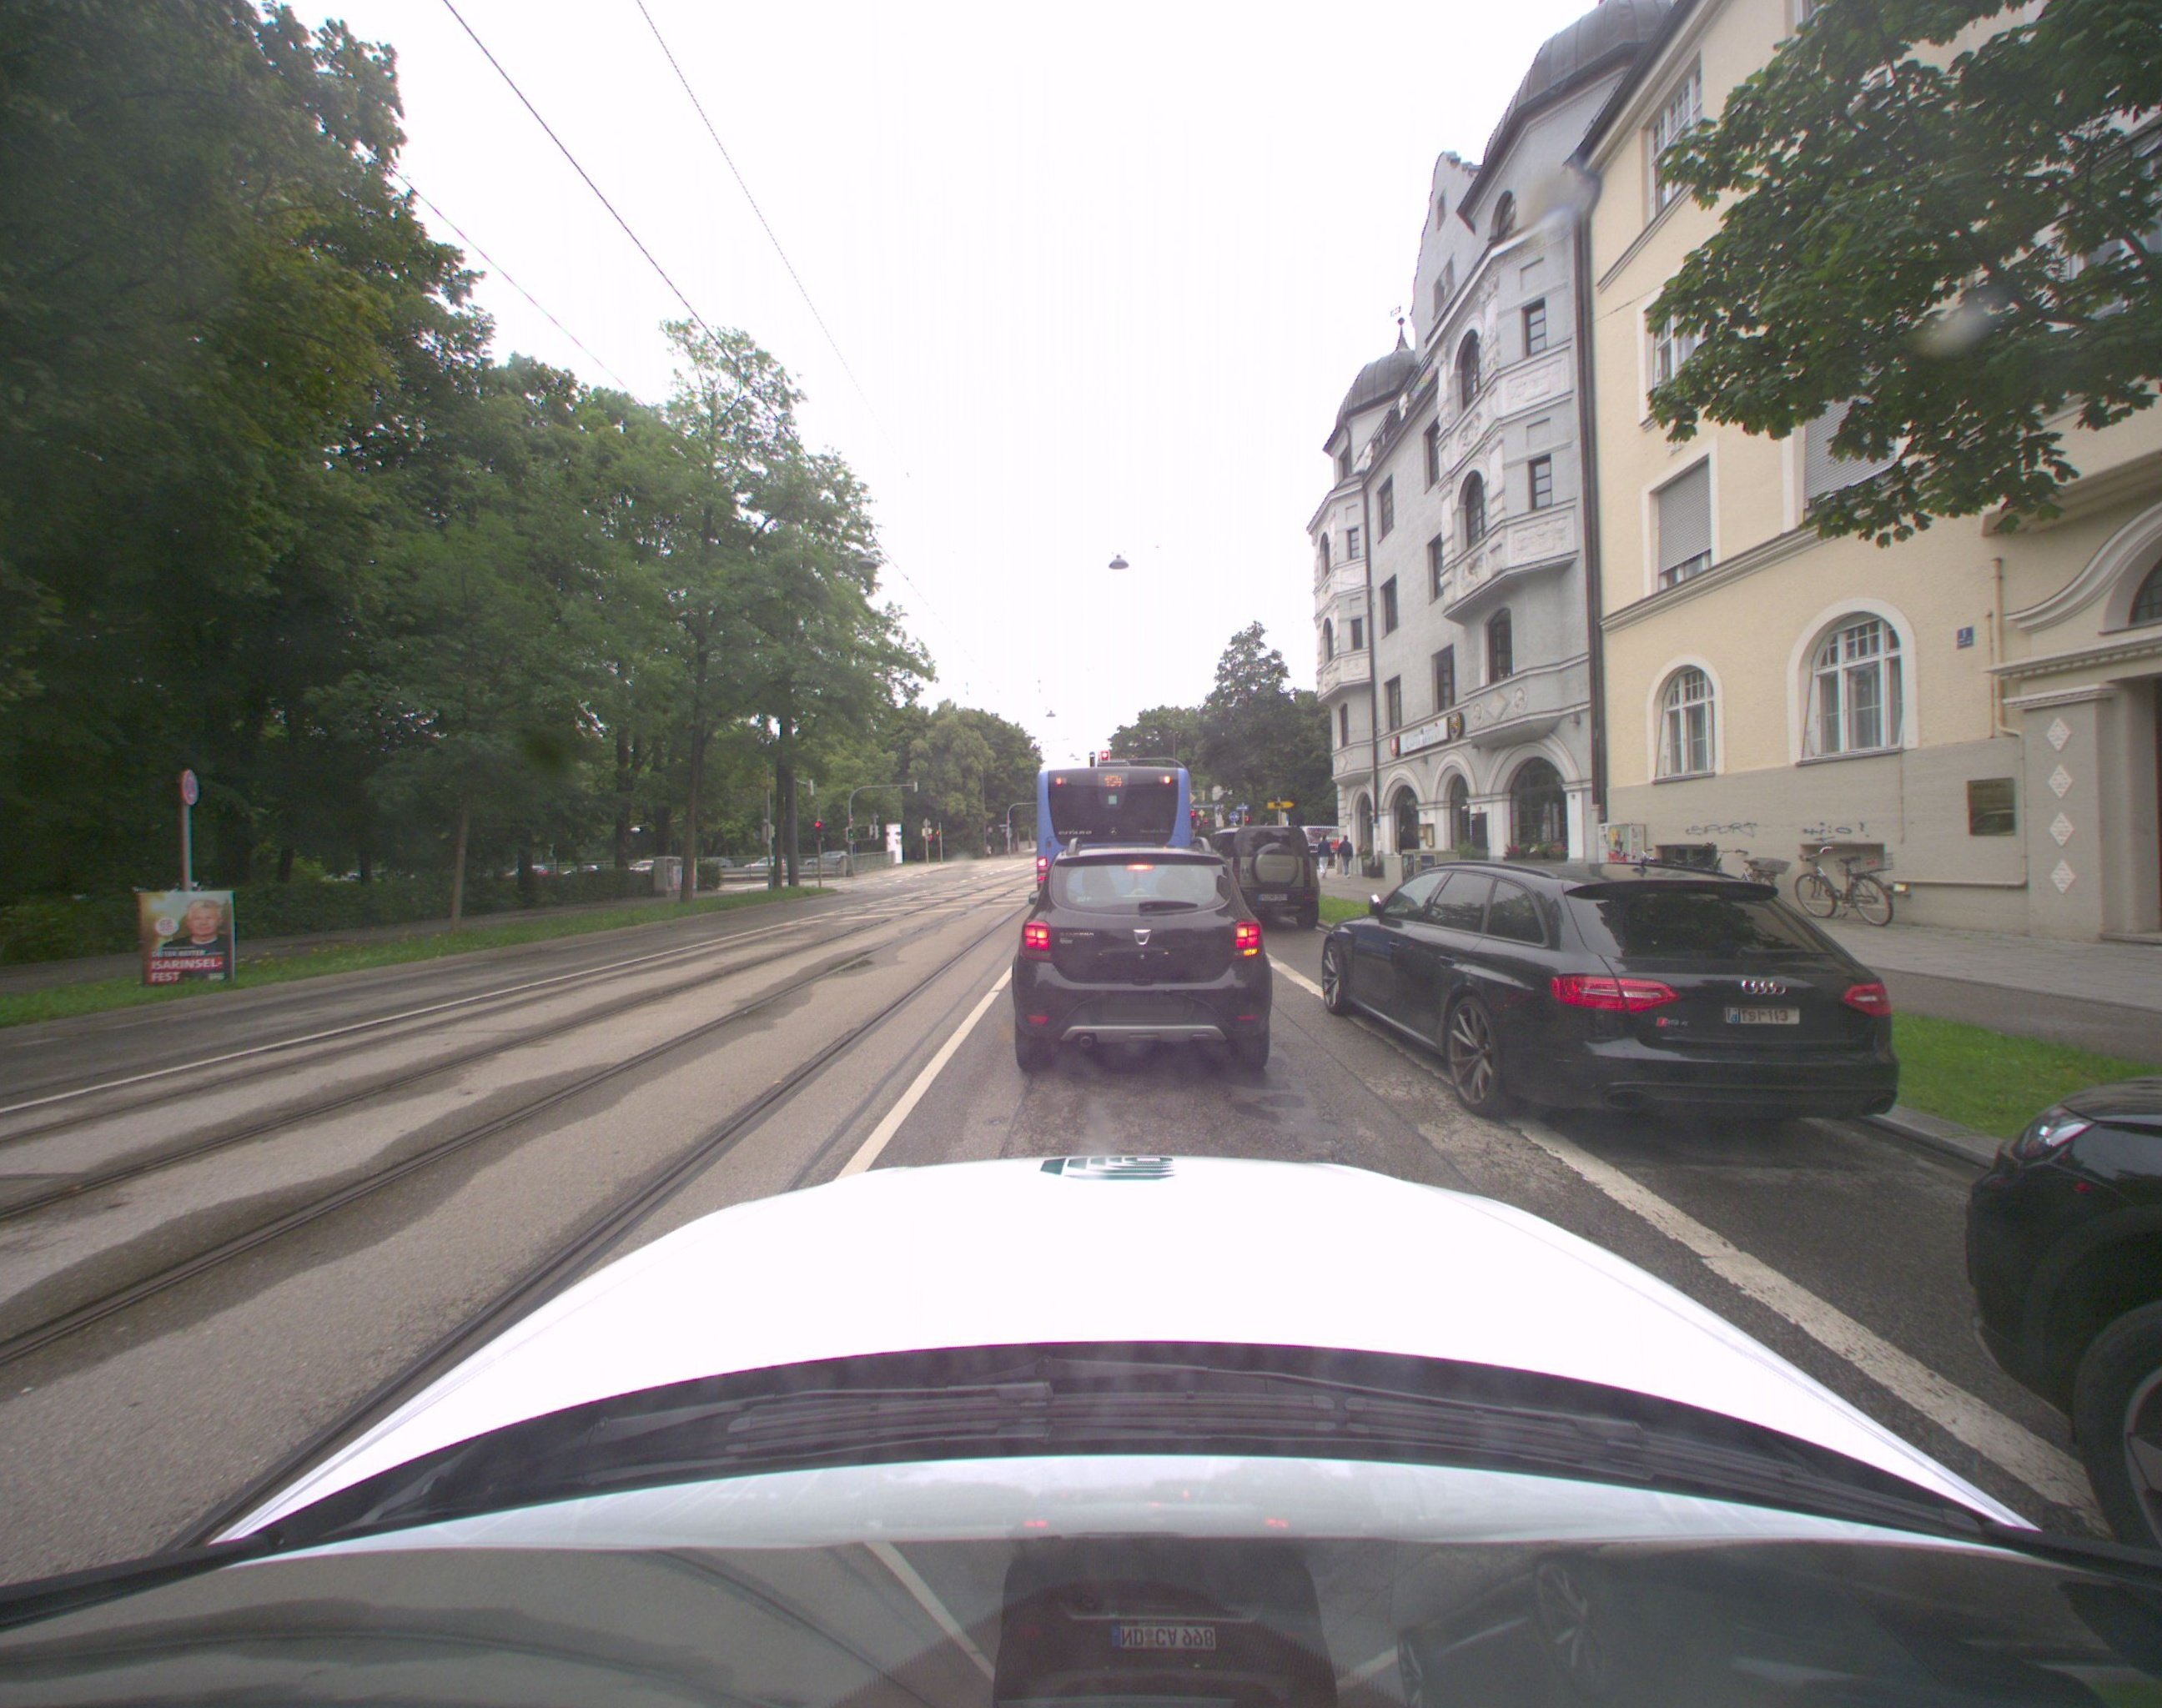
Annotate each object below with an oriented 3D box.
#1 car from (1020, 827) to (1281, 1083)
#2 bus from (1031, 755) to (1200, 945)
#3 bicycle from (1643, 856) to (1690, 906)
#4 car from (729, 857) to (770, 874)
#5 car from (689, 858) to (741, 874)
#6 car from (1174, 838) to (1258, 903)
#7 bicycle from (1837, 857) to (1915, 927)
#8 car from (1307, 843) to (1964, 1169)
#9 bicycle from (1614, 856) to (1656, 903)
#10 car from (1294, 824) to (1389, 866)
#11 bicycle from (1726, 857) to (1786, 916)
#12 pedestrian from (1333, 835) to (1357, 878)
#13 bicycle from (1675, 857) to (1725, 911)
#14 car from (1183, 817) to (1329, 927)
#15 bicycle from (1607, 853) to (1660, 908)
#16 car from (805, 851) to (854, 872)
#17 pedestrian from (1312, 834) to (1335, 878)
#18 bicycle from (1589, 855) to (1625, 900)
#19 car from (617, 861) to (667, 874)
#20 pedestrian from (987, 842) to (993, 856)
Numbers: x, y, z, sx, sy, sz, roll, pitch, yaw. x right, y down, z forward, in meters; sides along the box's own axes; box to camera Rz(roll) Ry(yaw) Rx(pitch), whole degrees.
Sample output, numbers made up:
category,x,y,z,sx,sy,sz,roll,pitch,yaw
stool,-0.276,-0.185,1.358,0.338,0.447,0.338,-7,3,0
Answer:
category,x,y,z,sx,sy,sz,roll,pitch,yaw
car,0.465,0.615,6.731,1.595,1.556,3.526,0,0,1
bus,0.552,-0.065,16.306,2.670,2.997,6.960,0,0,0
bicycle,11.196,0.497,15.597,0.304,0.930,0.886,0,0,4
car,-29.894,1.038,73.502,3.103,1.452,1.249,0,0,-4
car,-32.967,1.045,73.404,3.915,1.404,1.719,0,0,-3
car,3.584,0.404,22.248,1.708,1.591,4.329,0,0,2
bicycle,10.992,0.508,11.277,0.220,0.930,0.886,0,0,1
car,3.068,0.665,5.878,1.709,1.426,4.603,0,0,1
bicycle,11.260,0.503,16.557,0.289,0.930,0.886,0,0,3
car,16.299,-0.556,51.207,5.281,2.612,2.229,0,0,-2
bicycle,11.004,0.520,13.293,0.284,0.930,0.886,0,0,3
pedestrian,10.782,0.097,33.286,0.702,1.732,0.843,0,0,2
bicycle,11.105,0.520,14.628,0.271,0.930,0.886,0,0,3
car,3.342,0.309,16.525,1.908,1.906,4.807,0,0,0
bicycle,10.818,0.501,15.976,0.241,1.039,1.224,0,0,2
car,-22.882,0.717,74.080,4.015,1.887,1.488,0,0,-5
pedestrian,10.053,0.069,33.810,0.702,1.816,0.870,0,0,2
bicycle,11.288,0.489,17.494,0.258,0.930,0.886,0,0,3
car,-39.426,1.185,73.142,3.720,1.185,1.249,0,0,-4
pedestrian,-9.673,-0.542,86.385,0.529,1.501,0.589,0,0,6
